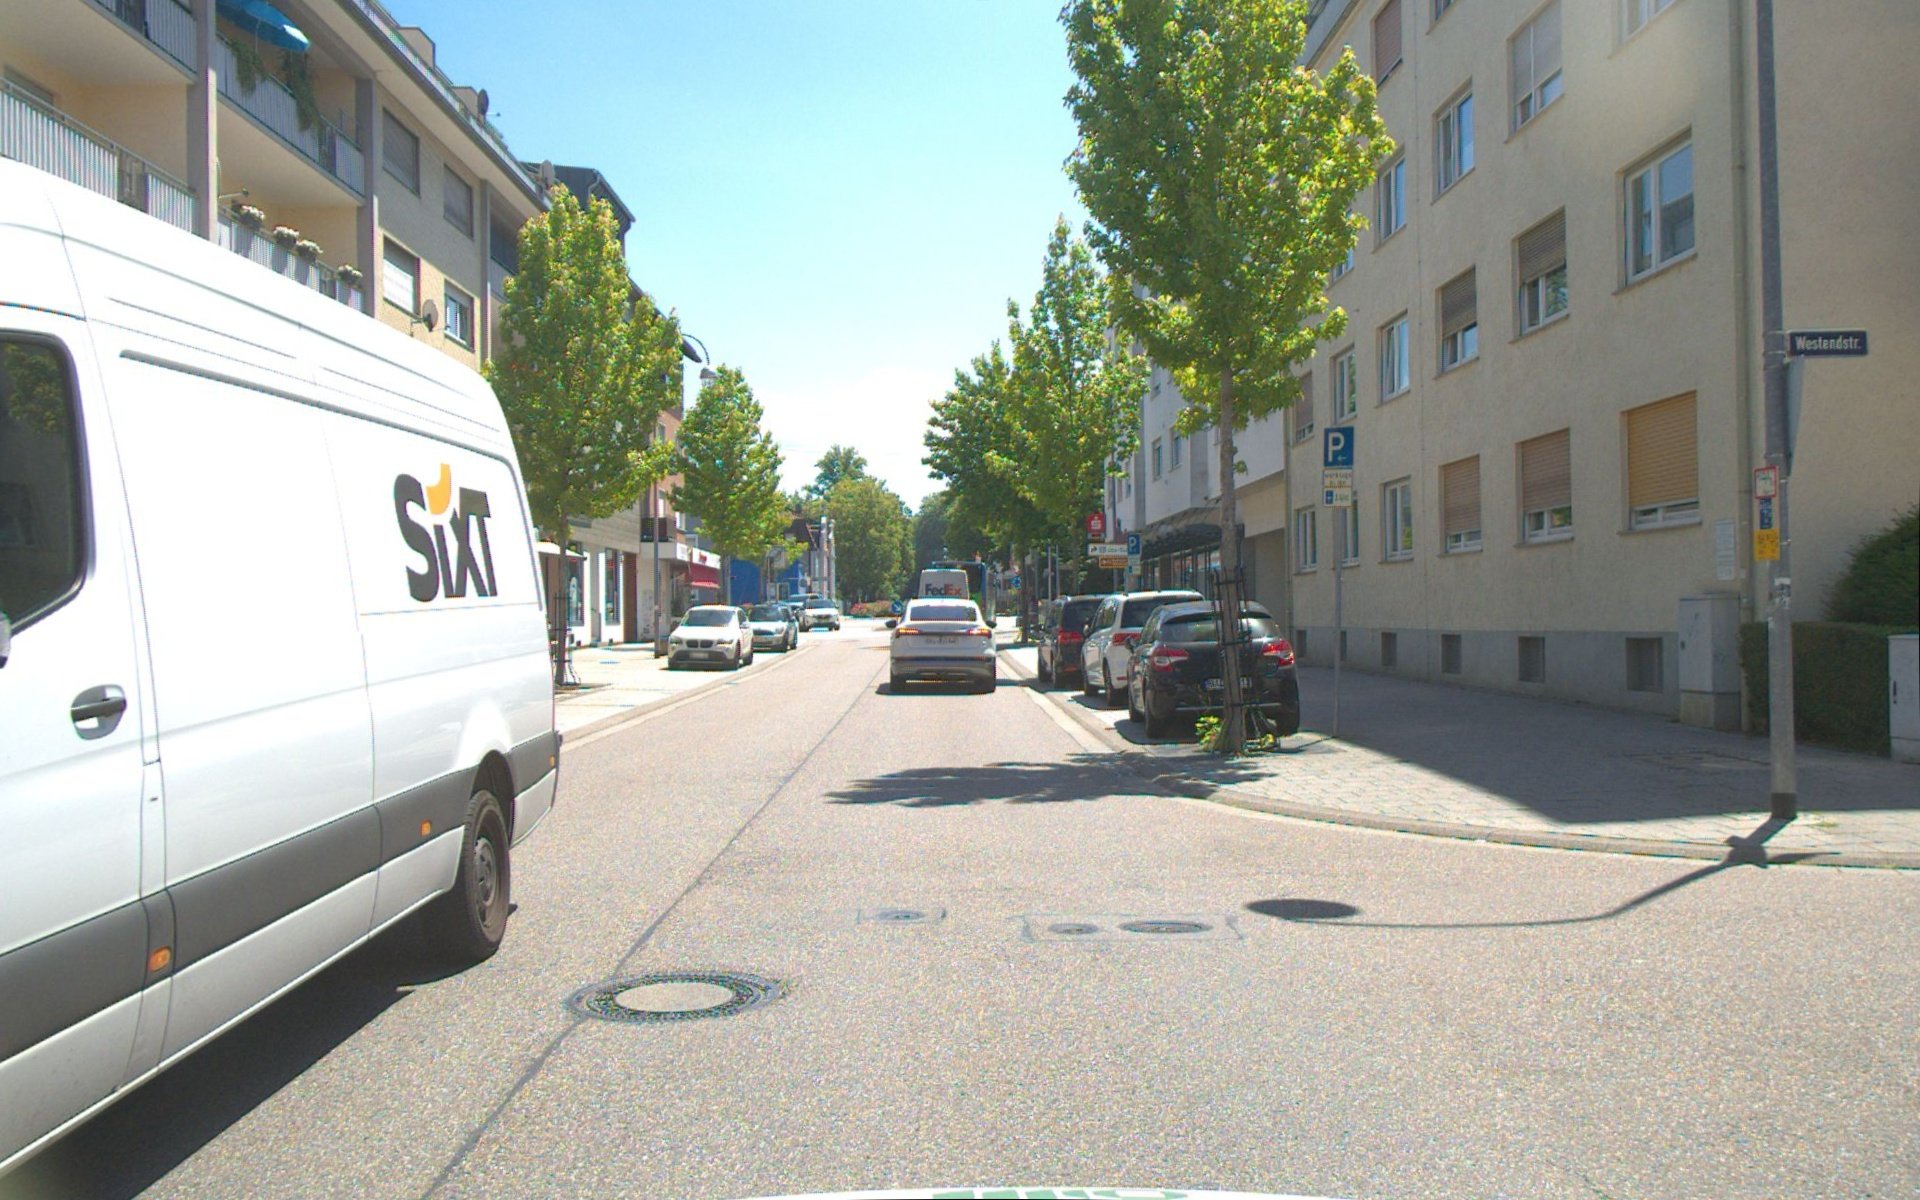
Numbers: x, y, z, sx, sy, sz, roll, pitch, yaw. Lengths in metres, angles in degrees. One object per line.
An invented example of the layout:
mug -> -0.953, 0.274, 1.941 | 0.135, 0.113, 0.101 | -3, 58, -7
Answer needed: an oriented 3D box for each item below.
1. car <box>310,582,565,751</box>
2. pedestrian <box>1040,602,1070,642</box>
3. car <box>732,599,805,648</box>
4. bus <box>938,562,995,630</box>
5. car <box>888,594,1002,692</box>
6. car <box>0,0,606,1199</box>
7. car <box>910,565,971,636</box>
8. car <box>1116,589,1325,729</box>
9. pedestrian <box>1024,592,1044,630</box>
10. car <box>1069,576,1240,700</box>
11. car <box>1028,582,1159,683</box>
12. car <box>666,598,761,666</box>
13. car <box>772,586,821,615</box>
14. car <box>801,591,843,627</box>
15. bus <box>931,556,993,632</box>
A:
car -> -5.915, 0.694, 19.228 | 1.717, 1.732, 4.100 | 1, 0, -1
pedestrian -> 3.073, 0.697, 53.350 | 0.888, 1.258, 0.648 | -1, 0, -2
car -> -6.134, 0.740, 53.402 | 1.716, 1.478, 4.401 | 1, 0, 1
bus -> 0.393, -0.169, 83.376 | 2.605, 3.266, 7.452 | 1, 0, 2
car -> -0.326, 0.740, 30.405 | 1.953, 1.661, 3.998 | 0, 0, -2
car -> -2.857, 0.180, 5.180 | 1.995, 2.676, 7.105 | -3, 0, -1
car -> -0.714, 0.040, 60.944 | 2.112, 2.484, 5.282 | 1, 0, -1
car -> 3.019, 0.634, 20.111 | 1.857, 1.463, 4.544 | -1, 0, 1
pedestrian -> 3.076, 0.461, 68.701 | 0.703, 1.529, 0.581 | -1, 0, -9
car -> 2.968, 0.549, 26.252 | 1.859, 1.704, 4.687 | -3, 0, -3
car -> 2.464, 0.578, 31.586 | 1.819, 1.704, 4.534 | -3, 0, -3
car -> -6.274, 0.783, 42.533 | 1.716, 1.646, 4.400 | 1, 0, 0
car -> -10.597, 0.057, 107.336 | 1.825, 1.788, 4.003 | 1, 0, 15
car -> -7.051, 0.441, 84.579 | 1.819, 1.721, 4.149 | -2, 0, -1
bus -> 0.181, -0.225, 76.026 | 2.605, 3.278, 7.302 | 1, 0, 2
